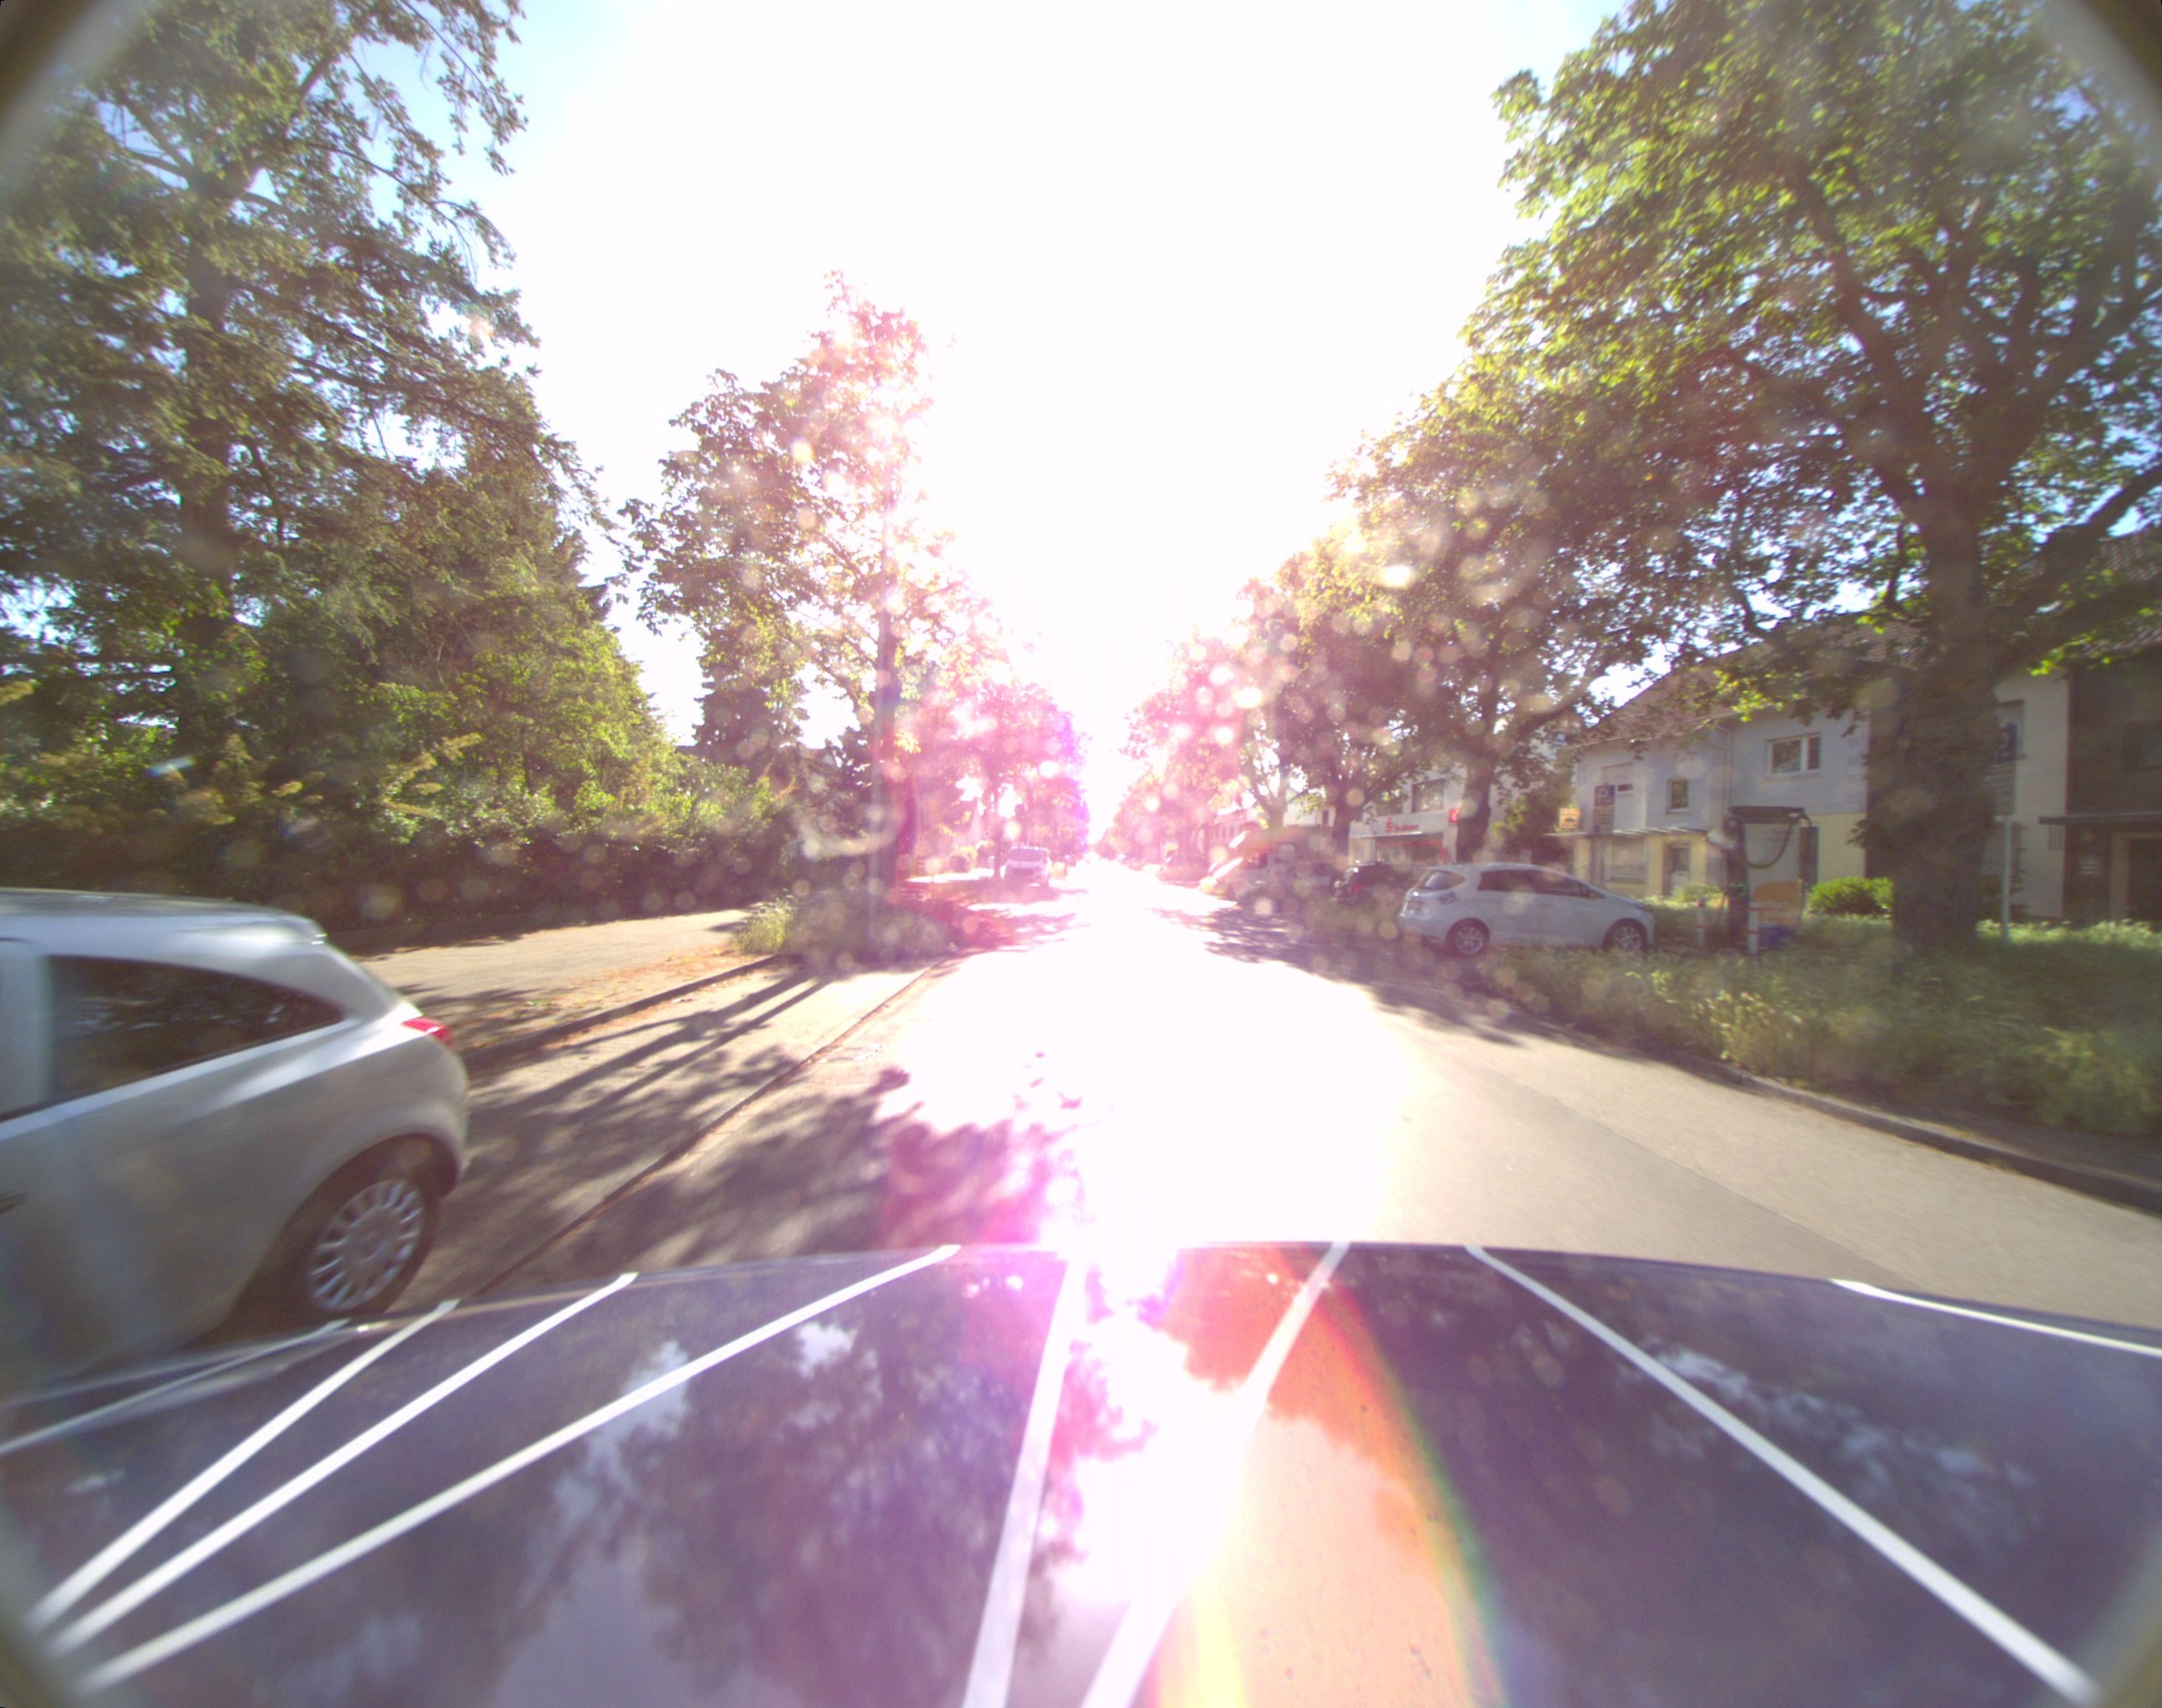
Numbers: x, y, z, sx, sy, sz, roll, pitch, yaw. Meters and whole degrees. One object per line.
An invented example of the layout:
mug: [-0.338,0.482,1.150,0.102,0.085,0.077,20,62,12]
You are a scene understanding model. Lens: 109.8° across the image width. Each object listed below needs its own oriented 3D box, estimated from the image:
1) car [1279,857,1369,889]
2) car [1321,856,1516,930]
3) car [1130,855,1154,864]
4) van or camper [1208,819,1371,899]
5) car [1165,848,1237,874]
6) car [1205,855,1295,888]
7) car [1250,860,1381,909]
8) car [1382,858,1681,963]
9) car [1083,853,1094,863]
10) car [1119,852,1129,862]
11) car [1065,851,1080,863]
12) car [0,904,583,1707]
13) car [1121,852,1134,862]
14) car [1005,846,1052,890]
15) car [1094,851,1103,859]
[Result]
car: [12.463,0.939,39.087,3.998,1.533,1.869,-1,1,-4]
car: [8.376,0.937,19.140,3.997,1.580,2.000,-2,1,0]
car: [9.839,0.934,122.634,3.695,1.315,1.624,-1,1,-5]
van or camper: [8.058,0.181,29.845,5.789,2.789,2.000,-2,1,3]
car: [9.092,0.490,57.727,5.075,1.718,1.999,-3,1,-3]
car: [8.101,0.833,36.675,3.996,1.441,1.640,-1,1,4]
car: [8.247,1.046,26.983,3.997,1.450,1.999,-2,1,-1]
car: [7.586,0.913,13.129,3.997,1.651,1.967,0,0,0]
car: [1.214,0.601,125.892,1.539,1.582,3.458,-2,1,3]
car: [7.897,0.497,138.813,1.815,1.722,4.056,1,0,3]
car: [-1.280,0.419,111.674,1.941,1.684,4.363,0,0,3]
car: [-3.208,1.030,1.114,1.997,1.502,4.002,2,1,8]
car: [7.801,0.487,127.495,1.998,1.530,3.695,-2,1,3]
car: [-2.574,0.620,38.425,1.999,2.002,5.195,-2,1,0]
car: [3.353,0.184,145.341,1.539,1.582,3.458,-2,1,3]
